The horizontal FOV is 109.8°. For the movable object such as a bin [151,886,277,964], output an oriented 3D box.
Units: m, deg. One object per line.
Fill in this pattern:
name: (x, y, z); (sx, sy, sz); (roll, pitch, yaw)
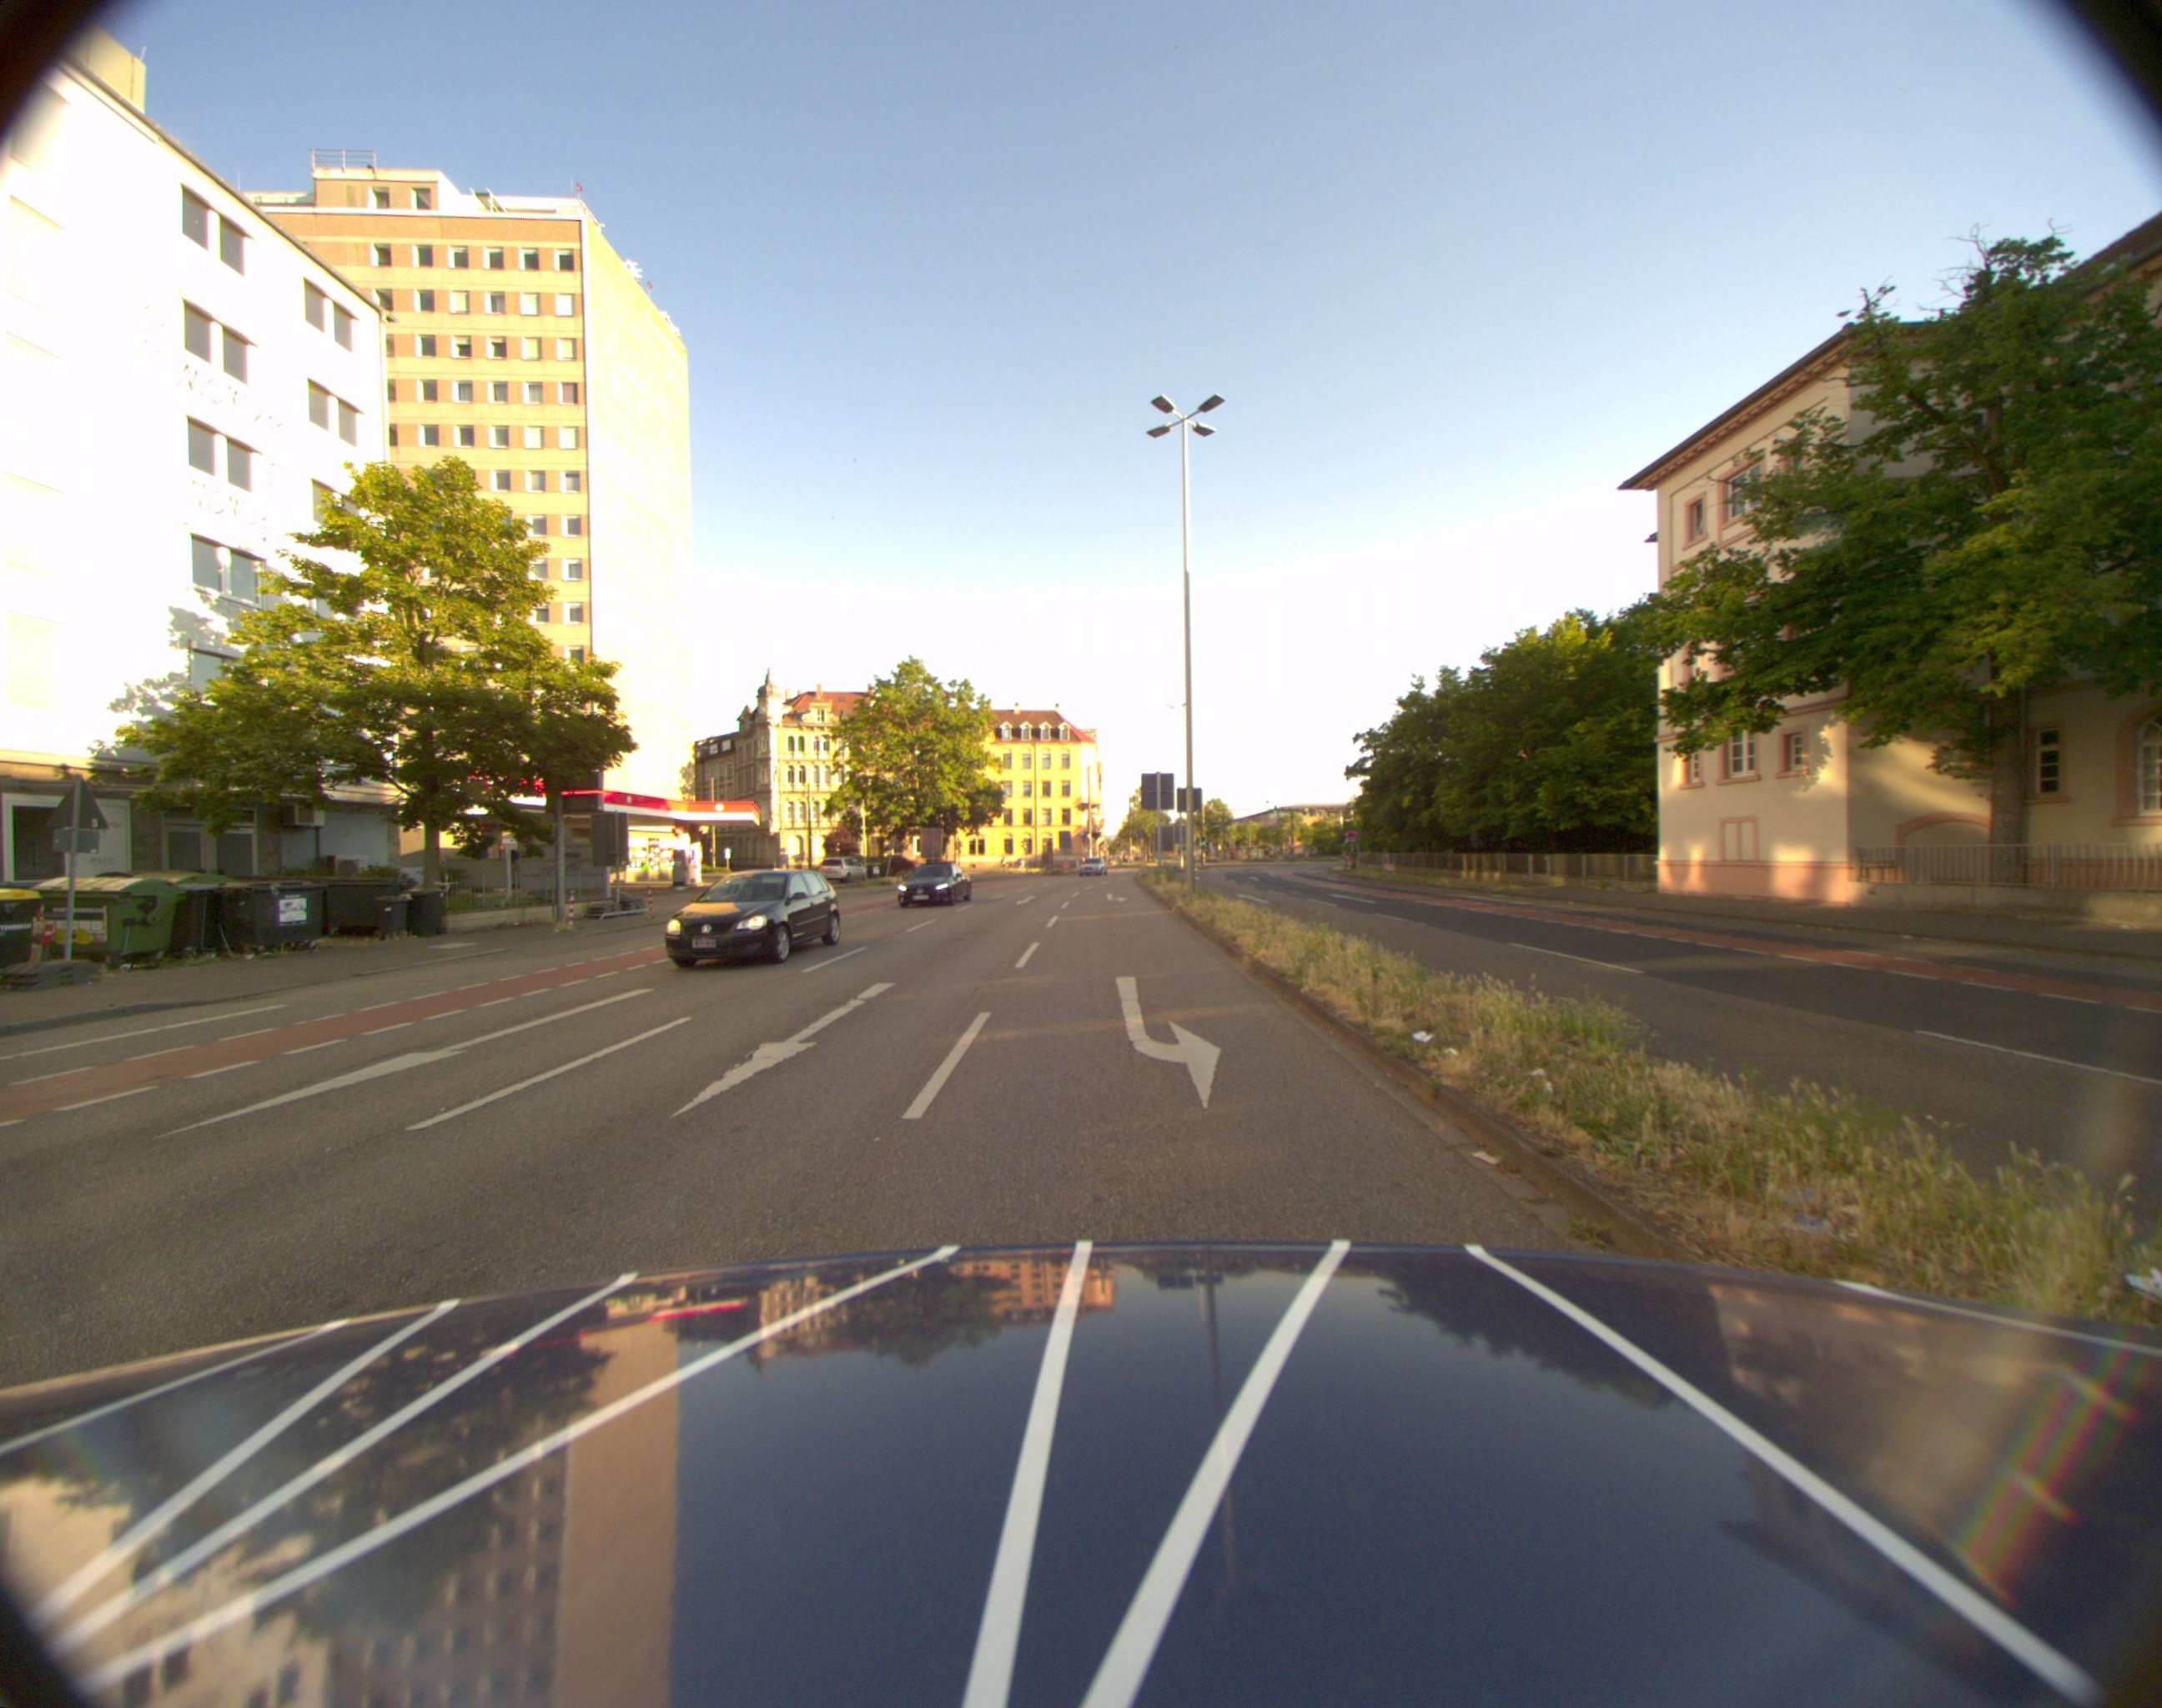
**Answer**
movable object such as a bin: (-16.043, 1.284, 14.100); (0.956, 1.320, 1.162); (-1, 1, -2)

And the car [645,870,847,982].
car: (-5.355, 1.071, 12.727); (1.584, 1.441, 3.872); (-2, 0, 1)

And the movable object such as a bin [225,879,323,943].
movable object such as a bin: (-17.933, 1.249, 16.921); (0.956, 1.320, 1.098); (-1, 1, -2)

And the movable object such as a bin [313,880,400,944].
movable object such as a bin: (-15.908, 1.253, 16.710); (0.956, 1.320, 0.953); (-1, 1, -2)

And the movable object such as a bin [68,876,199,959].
movable object such as a bin: (-18.302, 1.202, 14.722); (1.034, 1.490, 1.162); (-1, 1, -2)

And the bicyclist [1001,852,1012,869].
bicyclist: (-7.632, 0.660, 77.947); (1.065, 1.639, 0.732); (-1, 1, -7)

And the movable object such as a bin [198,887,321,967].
movable object such as a bin: (-14.950, 1.297, 13.874); (0.956, 1.320, 1.162); (-1, 1, -2)

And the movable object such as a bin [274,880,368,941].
movable object such as a bin: (-16.936, 1.237, 16.964); (0.956, 1.276, 1.098); (-1, 1, -2)

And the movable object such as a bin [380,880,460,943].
movable object such as a bin: (-14.883, 1.277, 17.141); (0.956, 1.320, 0.953); (-1, 1, -2)

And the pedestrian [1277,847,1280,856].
pedestrian: (34.978, -0.444, 134.417); (0.467, 1.695, 0.419); (-1, 1, 1)

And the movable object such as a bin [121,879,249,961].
movable object such as a bin: (-17.127, 1.239, 14.568); (1.034, 1.440, 1.162); (-1, 1, -2)

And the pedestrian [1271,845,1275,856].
pedestrian: (34.144, -0.639, 135.380); (0.556, 2.002, 0.664); (-1, 1, 1)

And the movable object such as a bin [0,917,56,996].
movable object such as a bin: (-15.517, 1.462, 10.751); (0.853, 1.039, 0.819); (-1, 1, -4)

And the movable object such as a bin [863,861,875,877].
movable object such as a bin: (-13.871, 0.996, 49.770); (0.544, 1.013, 0.688); (-1, 1, 5)

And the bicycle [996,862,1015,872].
bicycle: (-7.705, 1.316, 77.873); (1.927, 1.053, 0.451); (-1, 1, -7)

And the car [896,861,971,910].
car: (-4.946, 1.015, 26.068); (1.731, 1.441, 4.045); (-2, 0, 0)

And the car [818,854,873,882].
car: (-13.957, 0.826, 45.280); (1.688, 1.508, 3.798); (-1, 1, 8)

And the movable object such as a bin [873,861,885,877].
movable object such as a bin: (-13.150, 0.982, 49.559); (0.544, 1.013, 0.688); (-1, 1, 5)

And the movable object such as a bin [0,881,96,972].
movable object such as a bin: (-18.693, 1.261, 13.410); (1.034, 1.490, 1.162); (-1, 1, -2)

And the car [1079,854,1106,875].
car: (0.910, 0.784, 58.404); (1.674, 1.410, 4.442); (-2, 0, 6)

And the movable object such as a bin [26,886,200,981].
movable object such as a bin: (-15.815, 1.265, 12.463); (1.351, 1.415, 1.105); (-1, 1, -4)
